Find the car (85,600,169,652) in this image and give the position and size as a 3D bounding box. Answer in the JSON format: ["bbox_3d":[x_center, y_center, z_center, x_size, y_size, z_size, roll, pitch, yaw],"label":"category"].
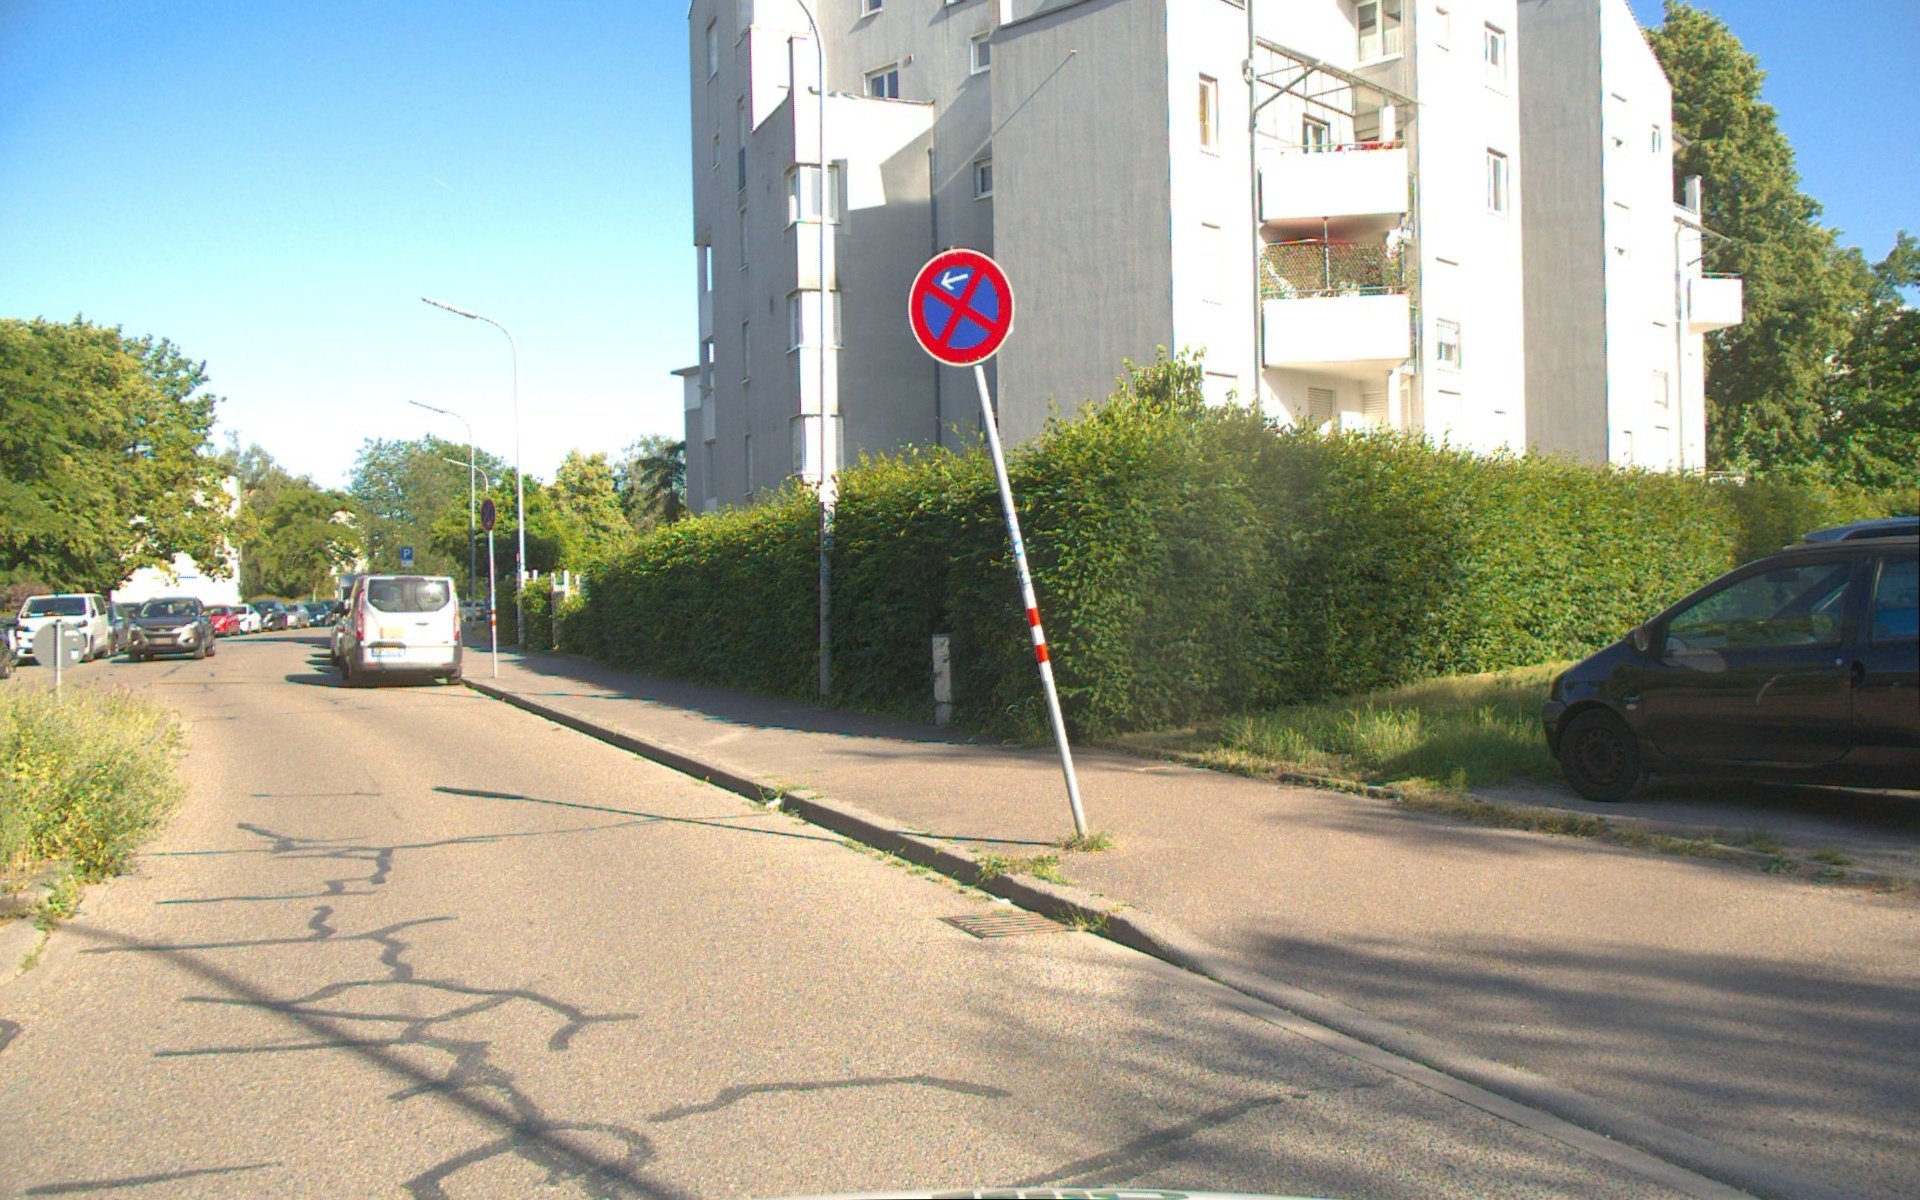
[{"bbox_3d":[-28.908,0.868,57.510,1.719,1.646,4.345,-2,1,-15],"label":"car"}]

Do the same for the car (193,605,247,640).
[{"bbox_3d":[-33.943,1.004,75.929,1.643,1.500,3.663,-3,1,-15],"label":"car"}]

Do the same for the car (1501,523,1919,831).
[{"bbox_3d":[4.944,0.334,9.140,1.680,1.492,3.499,-3,2,-29],"label":"car"}]

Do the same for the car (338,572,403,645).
[{"bbox_3d":[-21.392,0.309,60.191,2.072,2.530,5.825,0,0,-18],"label":"car"}]

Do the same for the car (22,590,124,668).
[{"bbox_3d":[-24.892,0.769,46.573,1.836,1.995,4.642,-2,1,-20],"label":"car"}]

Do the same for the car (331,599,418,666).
[{"bbox_3d":[-14.553,0.762,40.992,1.883,1.514,4.347,-2,0,-21],"label":"car"}]

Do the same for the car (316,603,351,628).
[{"bbox_3d":[-39.714,0.988,104.910,1.633,1.451,3.800,-3,1,-15],"label":"car"}]

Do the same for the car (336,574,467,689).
[{"bbox_3d":[-10.667,0.553,31.380,1.967,1.945,4.918,-2,0,-23],"label":"car"}]

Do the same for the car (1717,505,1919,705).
[{"bbox_3d":[9.260,-0.011,13.946,1.769,1.683,4.933,-3,0,-41],"label":"car"}]

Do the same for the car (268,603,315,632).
[{"bbox_3d":[-38.040,0.963,94.200,1.631,1.512,4.042,-3,1,-11],"label":"car"}]

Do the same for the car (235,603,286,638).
[{"bbox_3d":[-36.987,1.057,87.561,1.641,1.695,4.392,-3,1,-13],"label":"car"}]

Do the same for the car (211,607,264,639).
[{"bbox_3d":[-35.536,1.096,81.425,1.641,1.446,3.888,-3,0,-13],"label":"car"}]

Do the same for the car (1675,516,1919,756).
[{"bbox_3d":[6.830,0.189,10.800,1.631,1.522,3.649,-3,0,-33],"label":"car"}]

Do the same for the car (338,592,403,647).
[{"bbox_3d":[-19.612,0.633,54.911,1.883,1.695,4.347,-2,0,-21],"label":"car"}]

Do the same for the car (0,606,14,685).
[{"bbox_3d":[-21.028,1.009,34.416,1.651,1.667,4.223,-3,1,-21],"label":"car"}]

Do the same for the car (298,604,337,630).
[{"bbox_3d":[-38.670,0.983,99.572,1.633,1.451,4.033,-3,1,-15],"label":"car"}]

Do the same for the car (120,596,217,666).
[{"bbox_3d":[-21.508,0.808,45.080,1.885,1.735,4.161,-3,1,-20],"label":"car"}]
